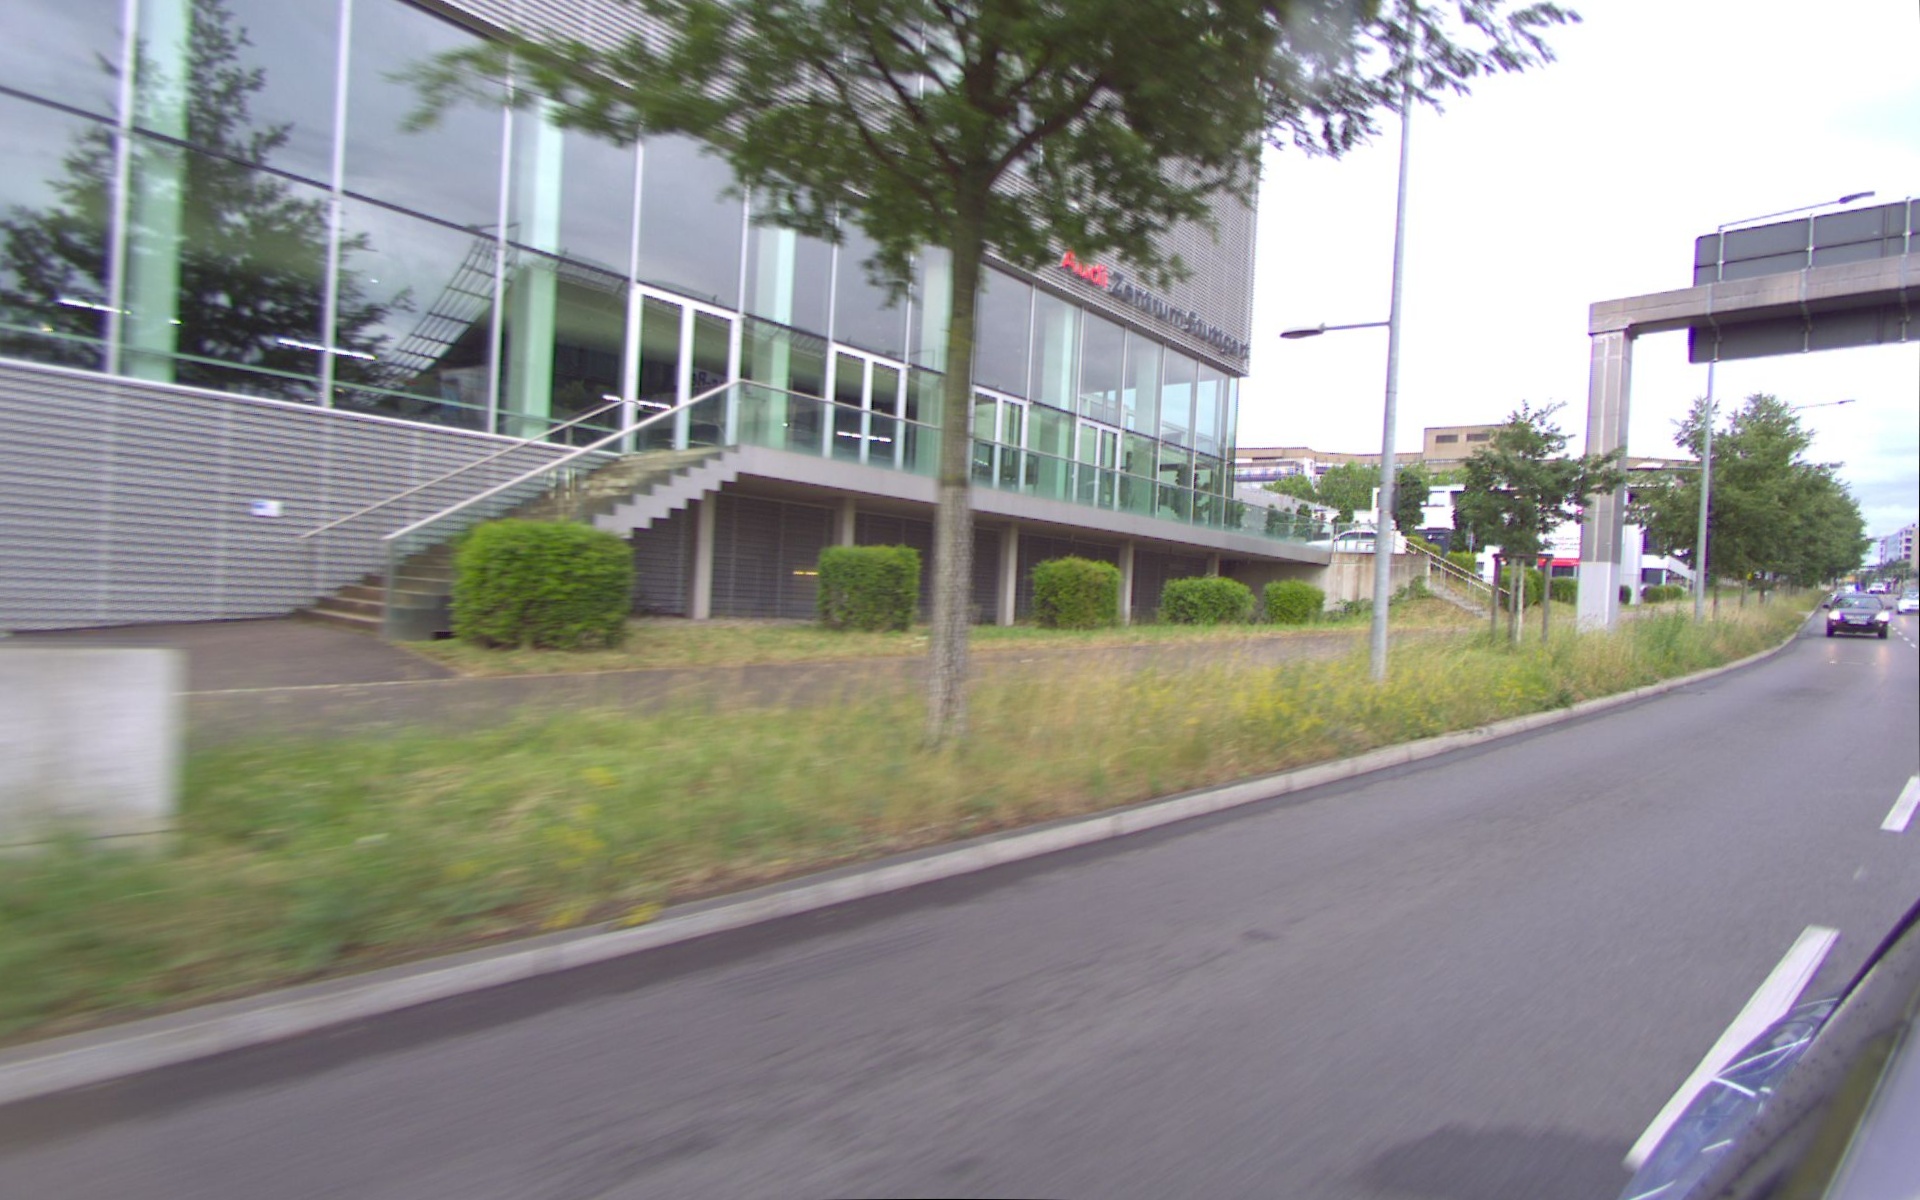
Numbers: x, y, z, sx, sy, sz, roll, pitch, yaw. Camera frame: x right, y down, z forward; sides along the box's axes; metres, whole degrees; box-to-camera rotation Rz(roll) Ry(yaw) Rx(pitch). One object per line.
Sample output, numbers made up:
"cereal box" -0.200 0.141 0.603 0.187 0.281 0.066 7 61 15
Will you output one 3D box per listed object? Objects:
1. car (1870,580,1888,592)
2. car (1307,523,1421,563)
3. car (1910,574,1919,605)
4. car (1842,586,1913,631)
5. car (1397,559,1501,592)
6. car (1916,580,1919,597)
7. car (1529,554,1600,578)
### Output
"car" 147.853 -2.305 162.803 1.993 1.872 3.938 0 2 43
"car" 17.331 -2.404 43.524 4.256 1.594 1.667 2 1 41
"car" 67.164 -0.747 69.993 1.994 2.038 3.936 0 2 45
"car" 35.133 0.326 38.721 4.046 1.629 1.825 1 0 -45
"car" 24.541 -1.242 50.870 4.417 1.594 1.667 2 1 41
"car" 117.948 -1.416 123.391 1.993 2.038 3.939 0 2 43
"car" 41.364 -2.358 69.237 4.091 1.613 1.925 1 3 34
